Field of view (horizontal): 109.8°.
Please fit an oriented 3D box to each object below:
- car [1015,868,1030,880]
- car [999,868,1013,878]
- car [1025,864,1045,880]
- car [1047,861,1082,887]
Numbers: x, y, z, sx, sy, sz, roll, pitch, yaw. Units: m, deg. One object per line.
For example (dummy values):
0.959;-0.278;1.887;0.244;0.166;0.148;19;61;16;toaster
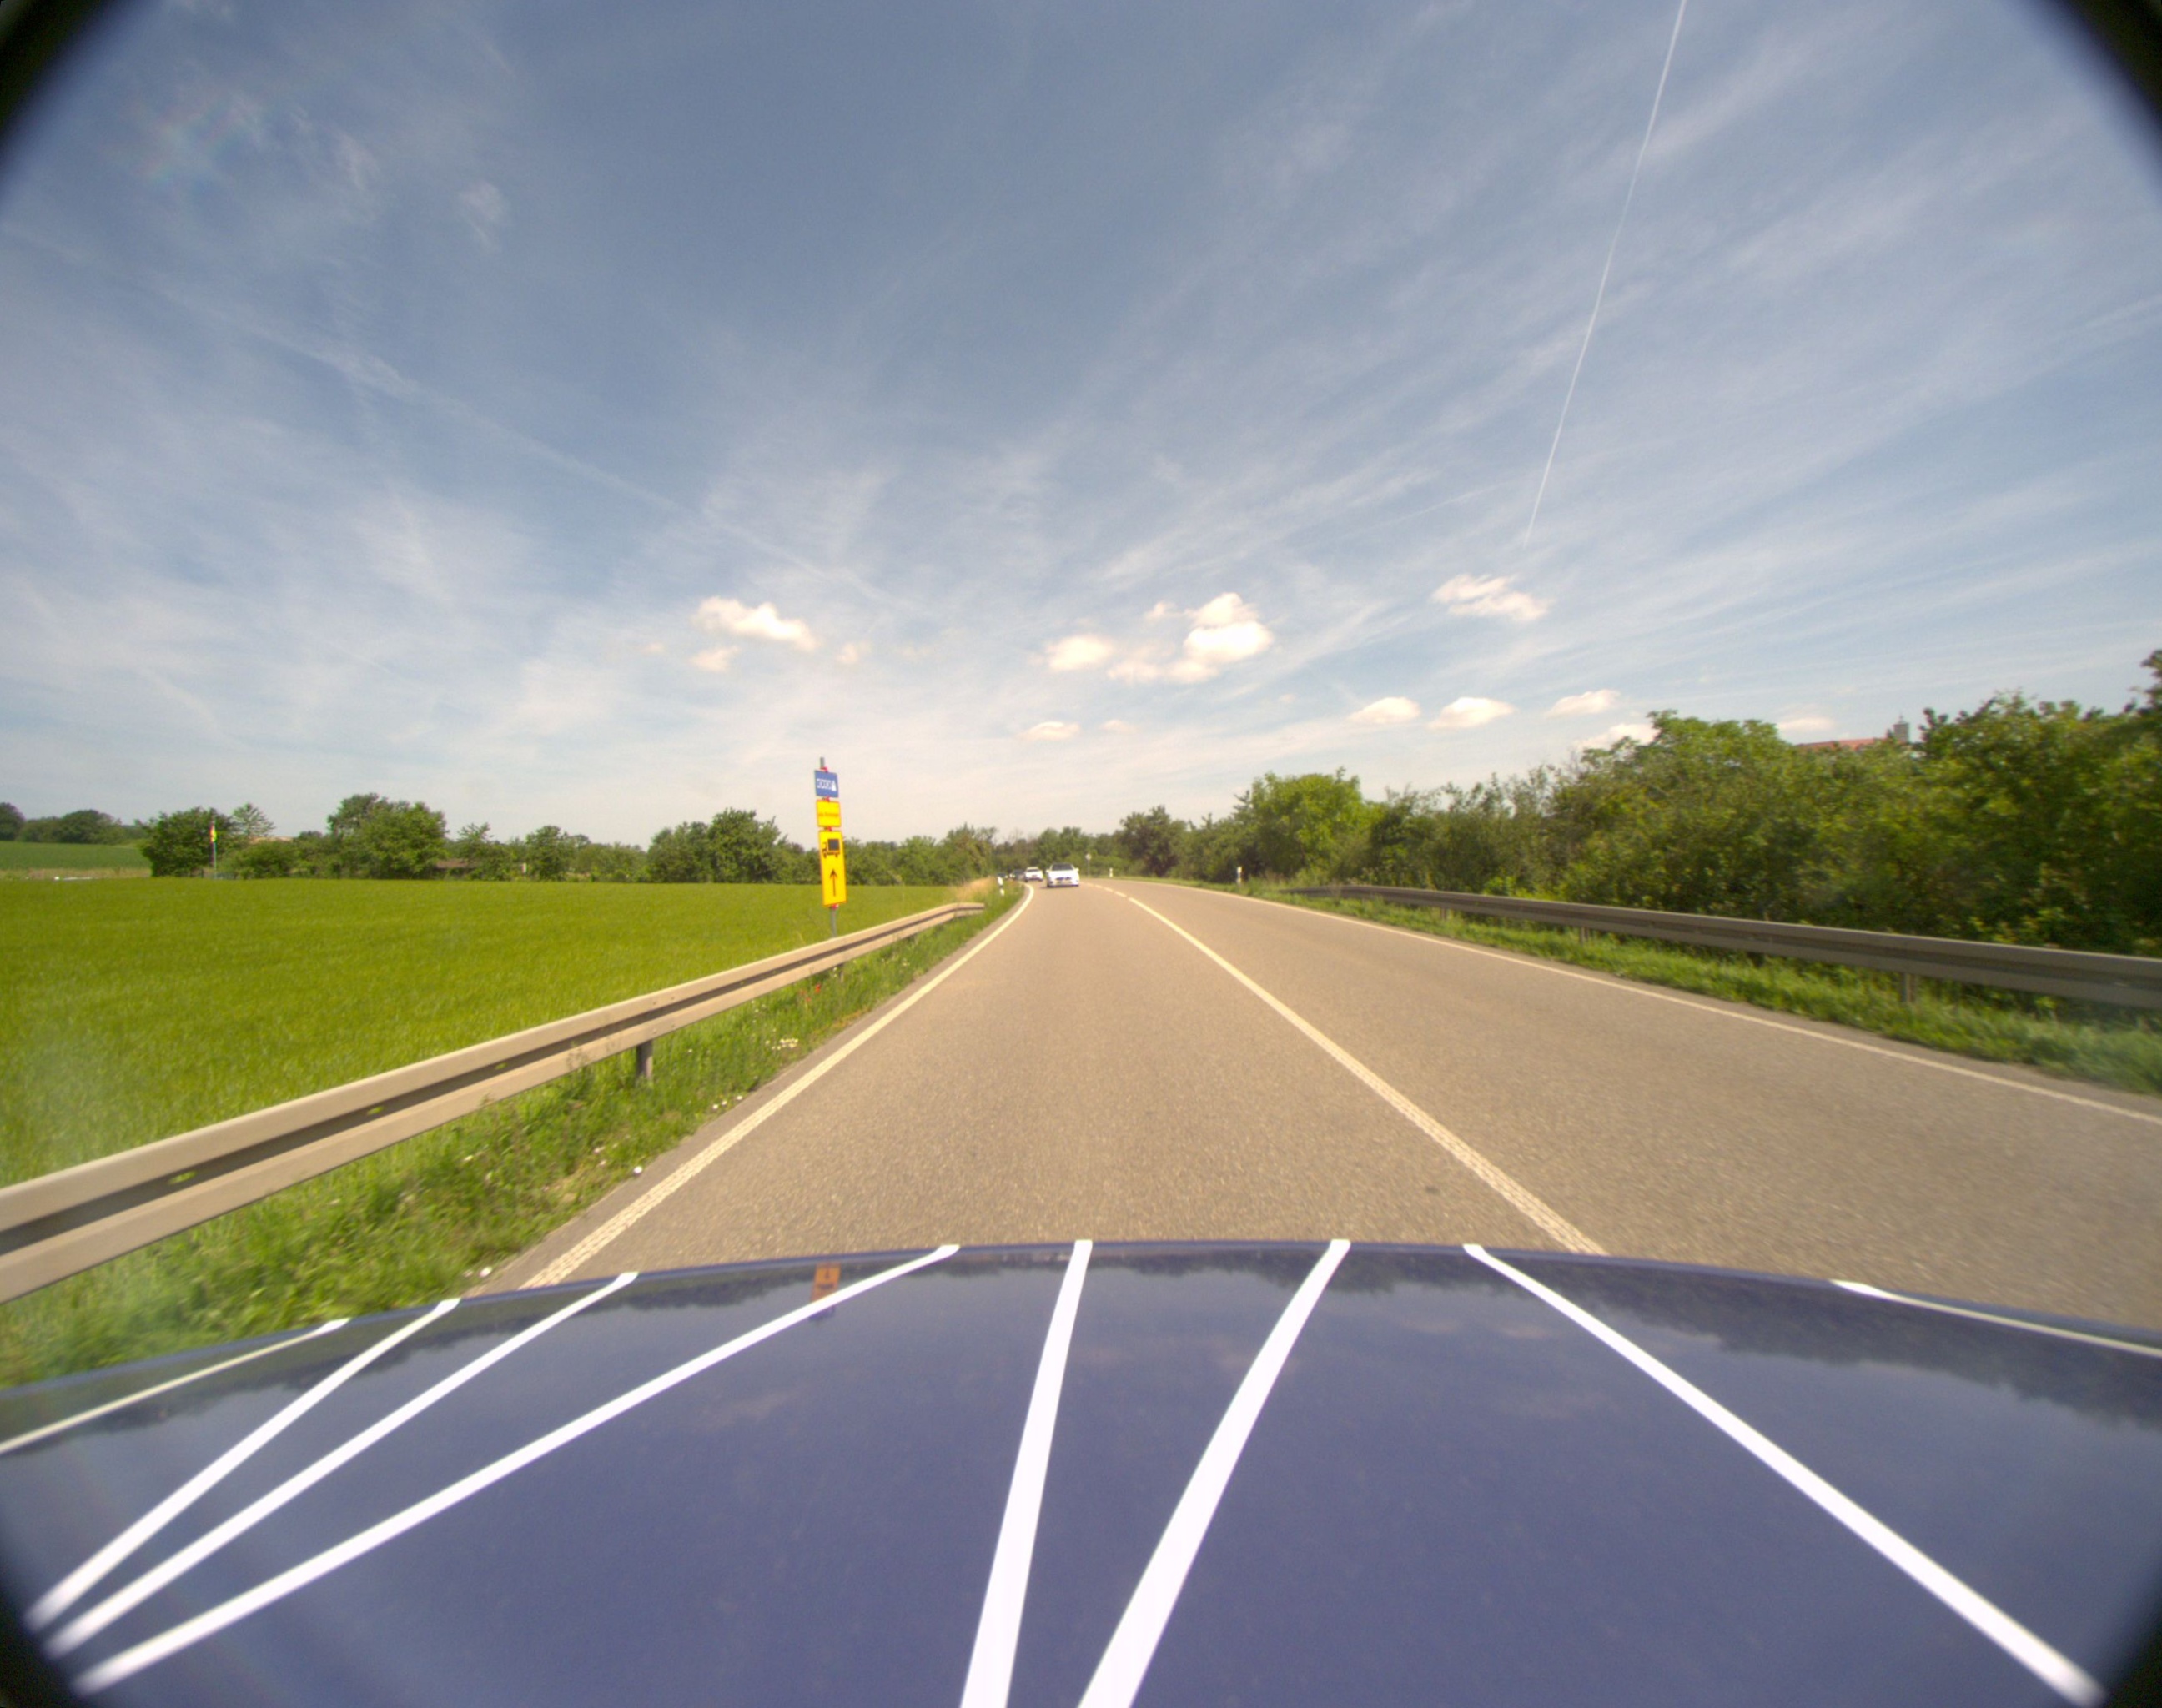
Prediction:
-7.920;2.649;102.350;1.930;1.441;4.074;-1;0;-7;car
-12.048;3.009;122.501;1.931;1.441;3.996;-1;0;-9;car
-4.822;1.888;79.808;1.930;1.441;3.999;-3;-1;-4;car
-1.053;1.204;46.416;1.930;1.441;4.534;-3;-1;-3;car
